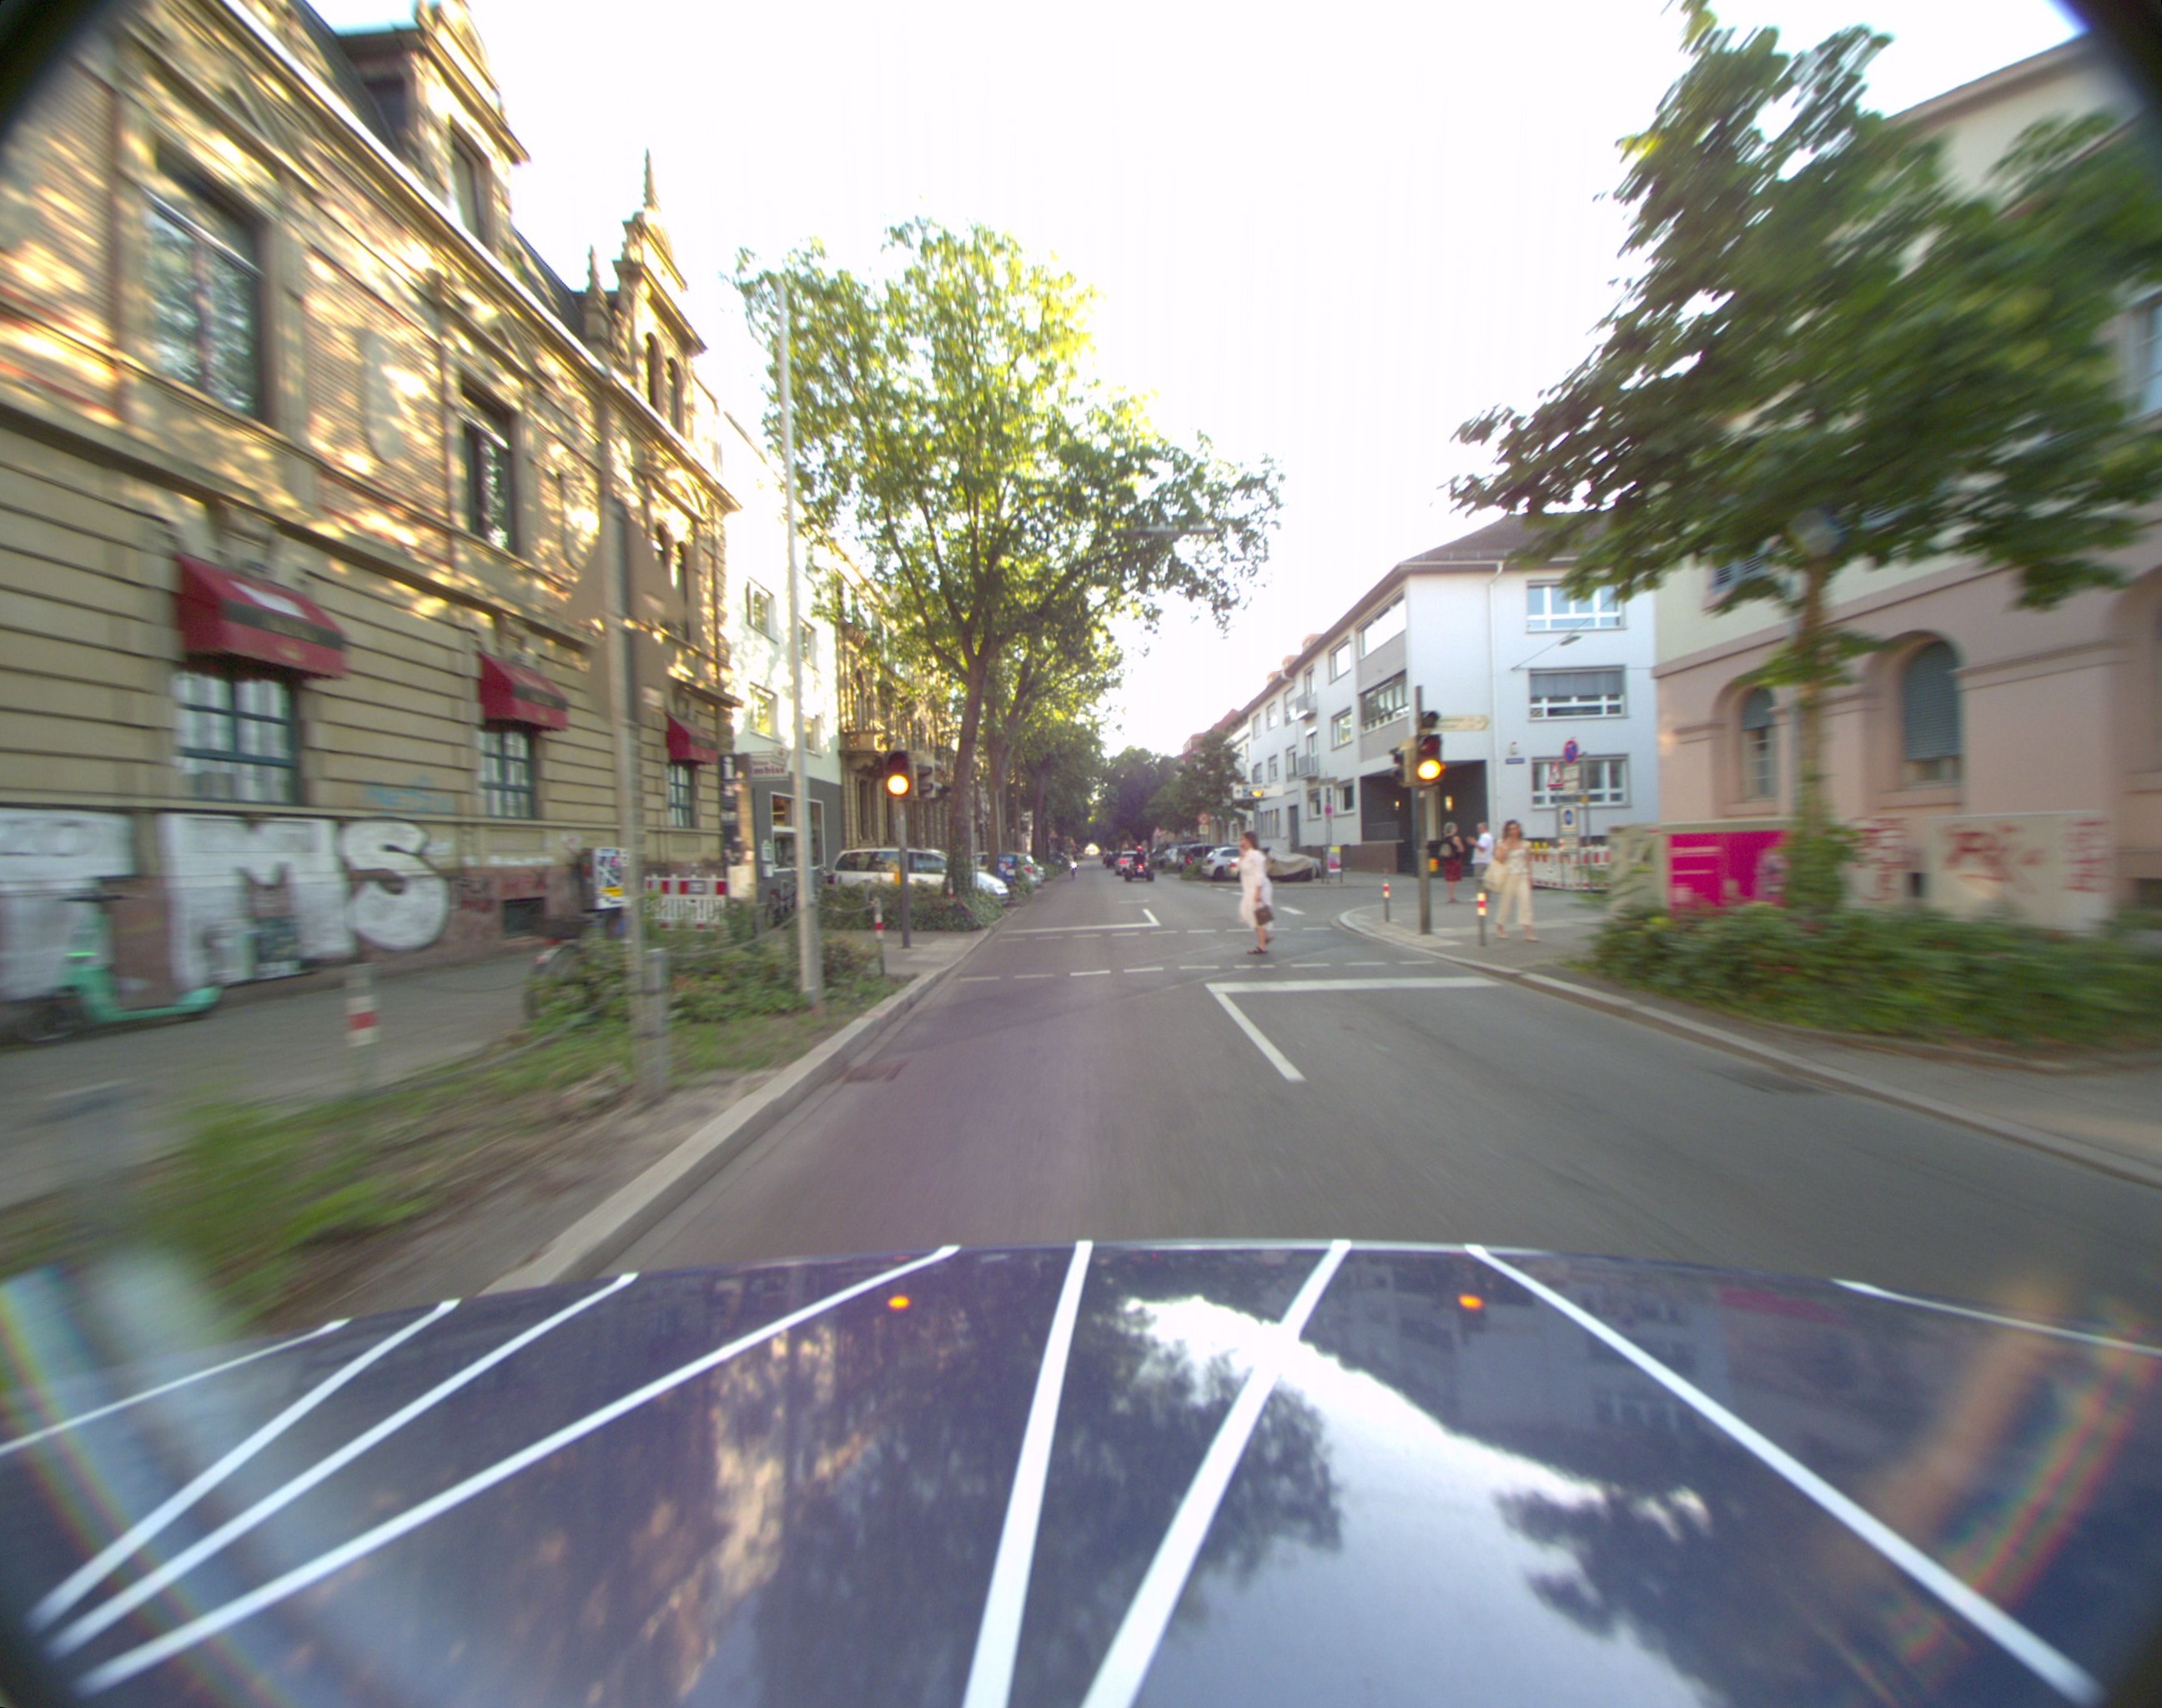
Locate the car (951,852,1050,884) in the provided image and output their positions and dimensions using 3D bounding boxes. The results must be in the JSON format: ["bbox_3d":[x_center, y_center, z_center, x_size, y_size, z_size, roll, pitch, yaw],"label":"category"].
[{"bbox_3d":[-3.935,0.681,37.670,4.594,1.429,1.925,-2,0,2],"label":"car"}]

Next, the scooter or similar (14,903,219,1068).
[{"bbox_3d":[-7.981,1.042,6.344,0.251,1.187,1.092,-2,0,2],"label":"scooter or similar"}]

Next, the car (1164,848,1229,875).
[{"bbox_3d":[7.634,0.469,50.565,4.038,1.485,1.781,-4,1,4],"label":"car"}]

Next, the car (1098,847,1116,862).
[{"bbox_3d":[3.002,-0.002,87.916,1.882,1.631,4.645,-1,0,0],"label":"car"}]

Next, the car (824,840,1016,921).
[{"bbox_3d":[-4.065,0.648,19.778,4.552,1.904,1.950,-1,1,-2],"label":"car"}]

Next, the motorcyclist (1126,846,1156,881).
[{"bbox_3d":[2.816,0.433,35.649,1.283,1.583,1.077,-2,1,1],"label":"motorcyclist"}]

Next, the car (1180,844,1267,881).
[{"bbox_3d":[7.316,0.430,39.398,4.103,1.622,1.936,-3,1,2],"label":"car"}]

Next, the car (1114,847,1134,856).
[{"bbox_3d":[8.193,-0.462,144.118,3.552,1.411,1.590,-5,0,1],"label":"car"}]

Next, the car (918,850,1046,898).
[{"bbox_3d":[-3.487,0.699,27.384,4.234,1.551,1.971,-1,0,4],"label":"car"}]

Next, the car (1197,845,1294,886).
[{"bbox_3d":[7.068,0.476,32.971,3.751,1.450,1.735,-4,1,0],"label":"car"}]

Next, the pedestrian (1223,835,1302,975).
[{"bbox_3d":[2.556,0.693,10.751,0.771,1.877,0.792,-2,1,-11],"label":"pedestrian"}]

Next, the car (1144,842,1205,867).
[{"bbox_3d":[8.082,0.026,65.972,5.002,1.979,2.190,-2,0,1],"label":"car"}]

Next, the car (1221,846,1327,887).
[{"bbox_3d":[7.585,0.481,30.197,3.748,1.303,1.845,-4,1,5],"label":"car"}]

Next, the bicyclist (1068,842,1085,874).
[{"bbox_3d":[-0.236,0.192,39.504,0.753,1.612,1.147,-3,1,4],"label":"bicyclist"}]

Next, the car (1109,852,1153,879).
[{"bbox_3d":[2.978,0.648,46.322,1.883,1.540,4.272,-1,0,-7],"label":"car"}]

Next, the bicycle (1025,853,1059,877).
[{"bbox_3d":[-2.471,0.702,48.607,2.051,1.352,0.508,-4,1,-1],"label":"bicycle"}]

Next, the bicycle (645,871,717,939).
[{"bbox_3d":[-7.857,0.968,14.997,0.386,1.204,1.725,-2,1,3],"label":"bicycle"}]

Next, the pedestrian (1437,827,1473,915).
[{"bbox_3d":[8.074,0.359,16.435,0.555,1.840,0.612,-2,1,15],"label":"pedestrian"}]

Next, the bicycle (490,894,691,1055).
[{"bbox_3d":[-4.536,1.037,7.261,0.525,1.145,2.248,-2,1,-3],"label":"bicycle"}]

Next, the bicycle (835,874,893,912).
[{"bbox_3d":[-4.889,0.851,17.263,0.582,0.661,2.329,-3,1,1],"label":"bicycle"}]

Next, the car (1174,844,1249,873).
[{"bbox_3d":[7.663,0.243,44.842,4.085,1.432,1.755,-4,1,2],"label":"car"}]

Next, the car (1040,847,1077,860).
[{"bbox_3d":[-2.807,-0.043,96.807,4.420,1.552,1.867,1,0,8],"label":"car"}]

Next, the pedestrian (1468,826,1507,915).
[{"bbox_3d":[8.694,0.349,16.253,0.555,1.840,0.612,-2,1,14],"label":"pedestrian"}]

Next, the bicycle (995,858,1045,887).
[{"bbox_3d":[-2.582,0.788,32.133,2.026,1.197,0.488,0,1,-12],"label":"bicycle"}]

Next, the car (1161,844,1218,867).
[{"bbox_3d":[7.907,0.149,55.602,3.855,1.442,1.855,-3,0,1],"label":"car"}]

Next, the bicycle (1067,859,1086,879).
[{"bbox_3d":[-0.216,0.753,39.552,0.778,0.967,2.025,-2,1,4],"label":"bicycle"}]

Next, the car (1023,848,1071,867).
[{"bbox_3d":[-3.229,0.357,72.716,4.451,1.708,1.968,-1,1,1],"label":"car"}]

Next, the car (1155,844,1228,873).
[{"bbox_3d":[7.647,0.307,52.972,4.677,1.755,2.156,-3,1,0],"label":"car"}]

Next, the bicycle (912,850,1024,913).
[{"bbox_3d":[-3.275,0.798,22.292,3.122,1.653,0.658,-3,1,-4],"label":"bicycle"}]

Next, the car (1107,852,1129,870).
[{"bbox_3d":[3.386,0.645,69.907,1.881,1.540,4.275,1,0,1],"label":"car"}]

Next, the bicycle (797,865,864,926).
[{"bbox_3d":[-5.653,0.905,17.275,0.582,1.232,2.161,-2,1,5],"label":"bicycle"}]

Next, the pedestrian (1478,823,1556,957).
[{"bbox_3d":[6.088,0.499,10.660,0.791,1.780,0.772,-5,0,28],"label":"pedestrian"}]

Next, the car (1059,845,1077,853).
[{"bbox_3d":[-2.767,-1.077,160.858,3.552,1.411,1.590,-5,0,1],"label":"car"}]

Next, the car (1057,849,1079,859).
[{"bbox_3d":[-2.139,-0.042,124.023,3.552,1.411,1.590,-5,0,-2],"label":"car"}]

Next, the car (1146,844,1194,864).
[{"bbox_3d":[8.533,0.002,73.342,4.365,1.530,1.771,-4,2,1],"label":"car"}]

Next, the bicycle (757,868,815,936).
[{"bbox_3d":[-5.913,0.930,15.313,0.386,1.228,1.725,-2,1,3],"label":"bicycle"}]

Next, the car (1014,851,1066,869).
[{"bbox_3d":[-3.405,0.478,63.656,4.234,1.472,1.854,1,1,1],"label":"car"}]

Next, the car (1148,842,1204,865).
[{"bbox_3d":[7.867,-0.041,63.197,4.365,1.564,1.930,-5,1,1],"label":"car"}]

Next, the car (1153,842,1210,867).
[{"bbox_3d":[7.929,0.037,60.267,4.165,1.582,1.823,-5,1,1],"label":"car"}]

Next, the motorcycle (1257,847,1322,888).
[{"bbox_3d":[7.492,0.489,27.303,2.150,1.411,0.969,-1,1,22],"label":"motorcycle"}]

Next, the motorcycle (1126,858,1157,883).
[{"bbox_3d":[2.824,0.758,35.680,1.315,1.084,2.396,-1,1,1],"label":"motorcycle"}]
